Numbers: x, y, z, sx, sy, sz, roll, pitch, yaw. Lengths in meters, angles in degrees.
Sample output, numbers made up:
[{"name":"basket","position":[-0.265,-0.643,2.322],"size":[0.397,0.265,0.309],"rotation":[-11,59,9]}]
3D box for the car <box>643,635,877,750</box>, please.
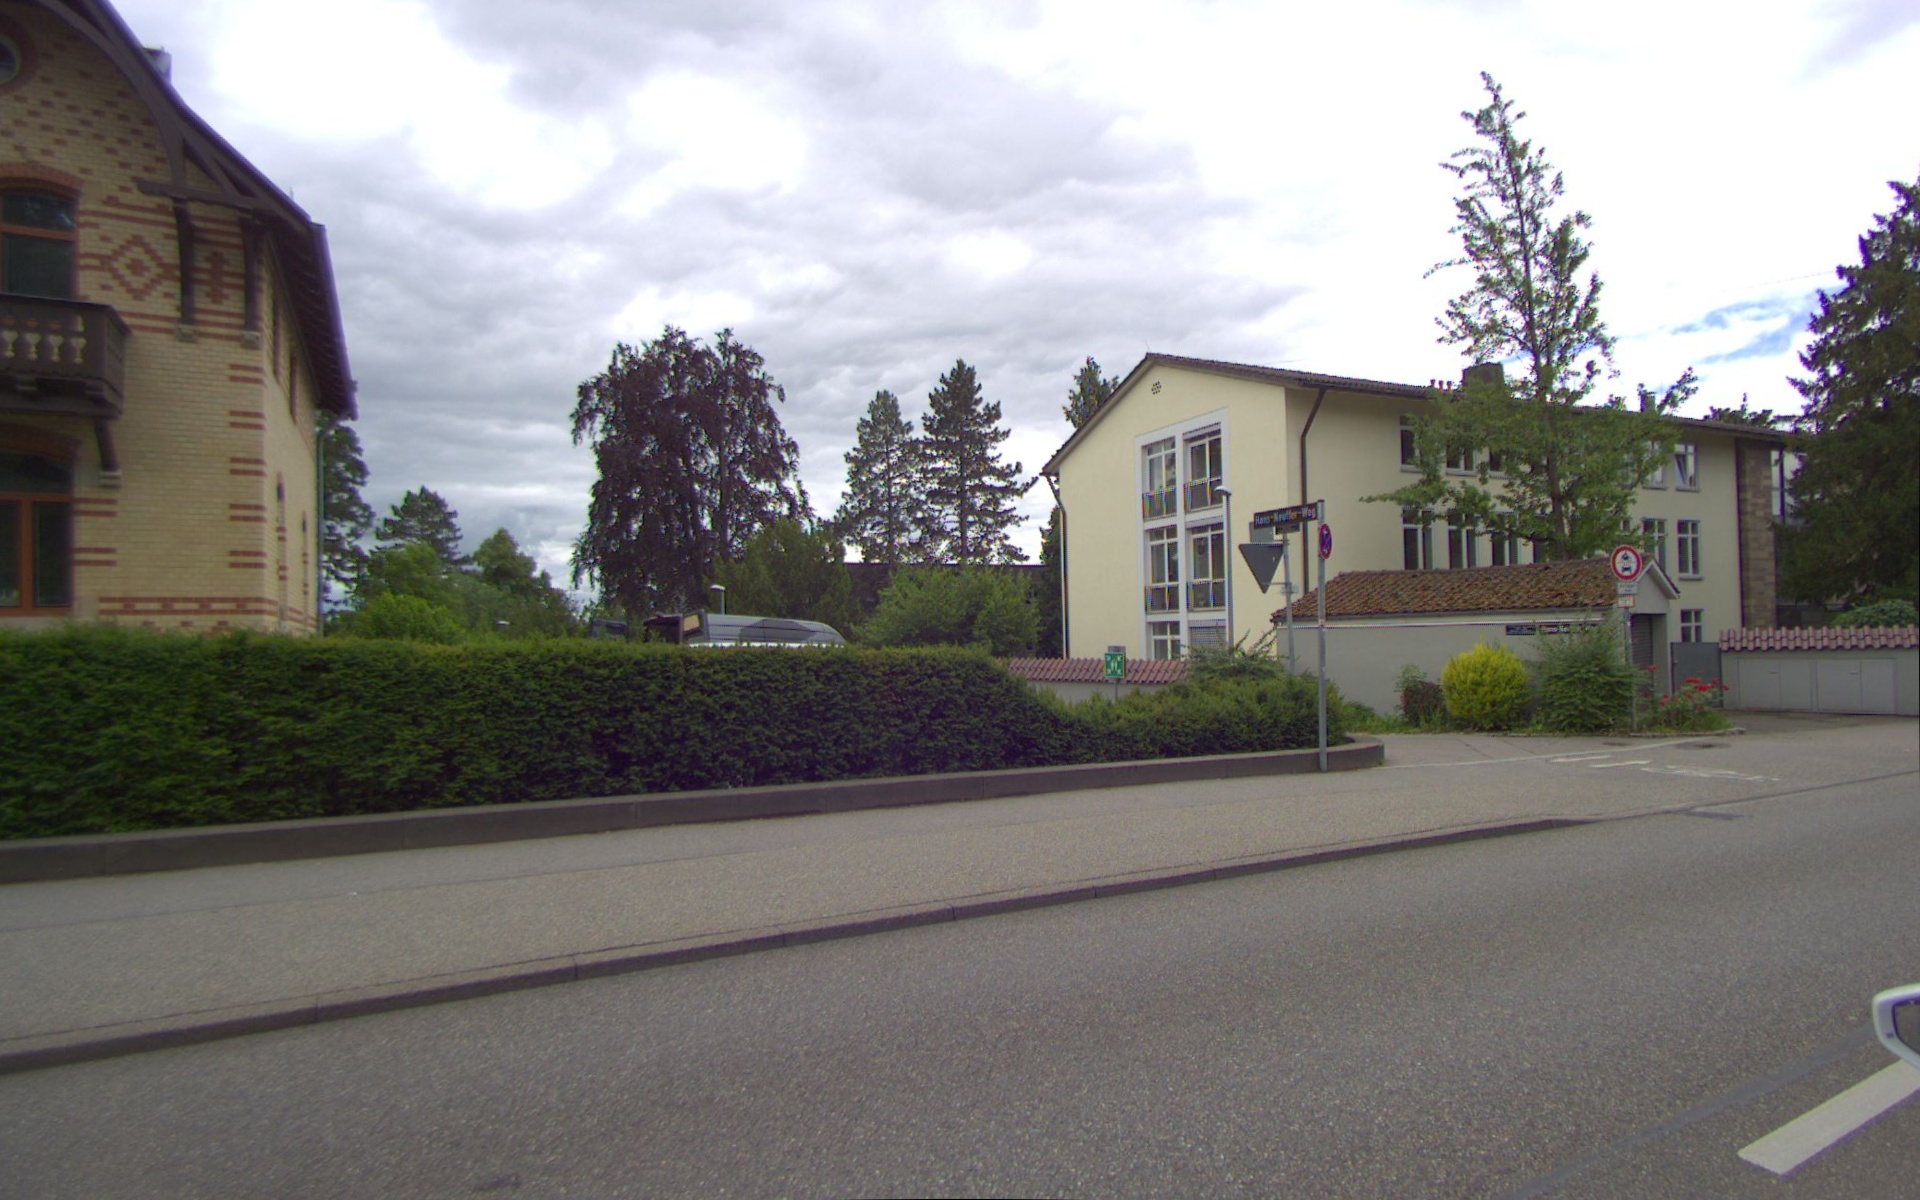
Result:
[{"name":"car","position":[-3.255,1.431,16.732],"size":[1.667,1.616,3.485],"rotation":[1,0,45]}]
